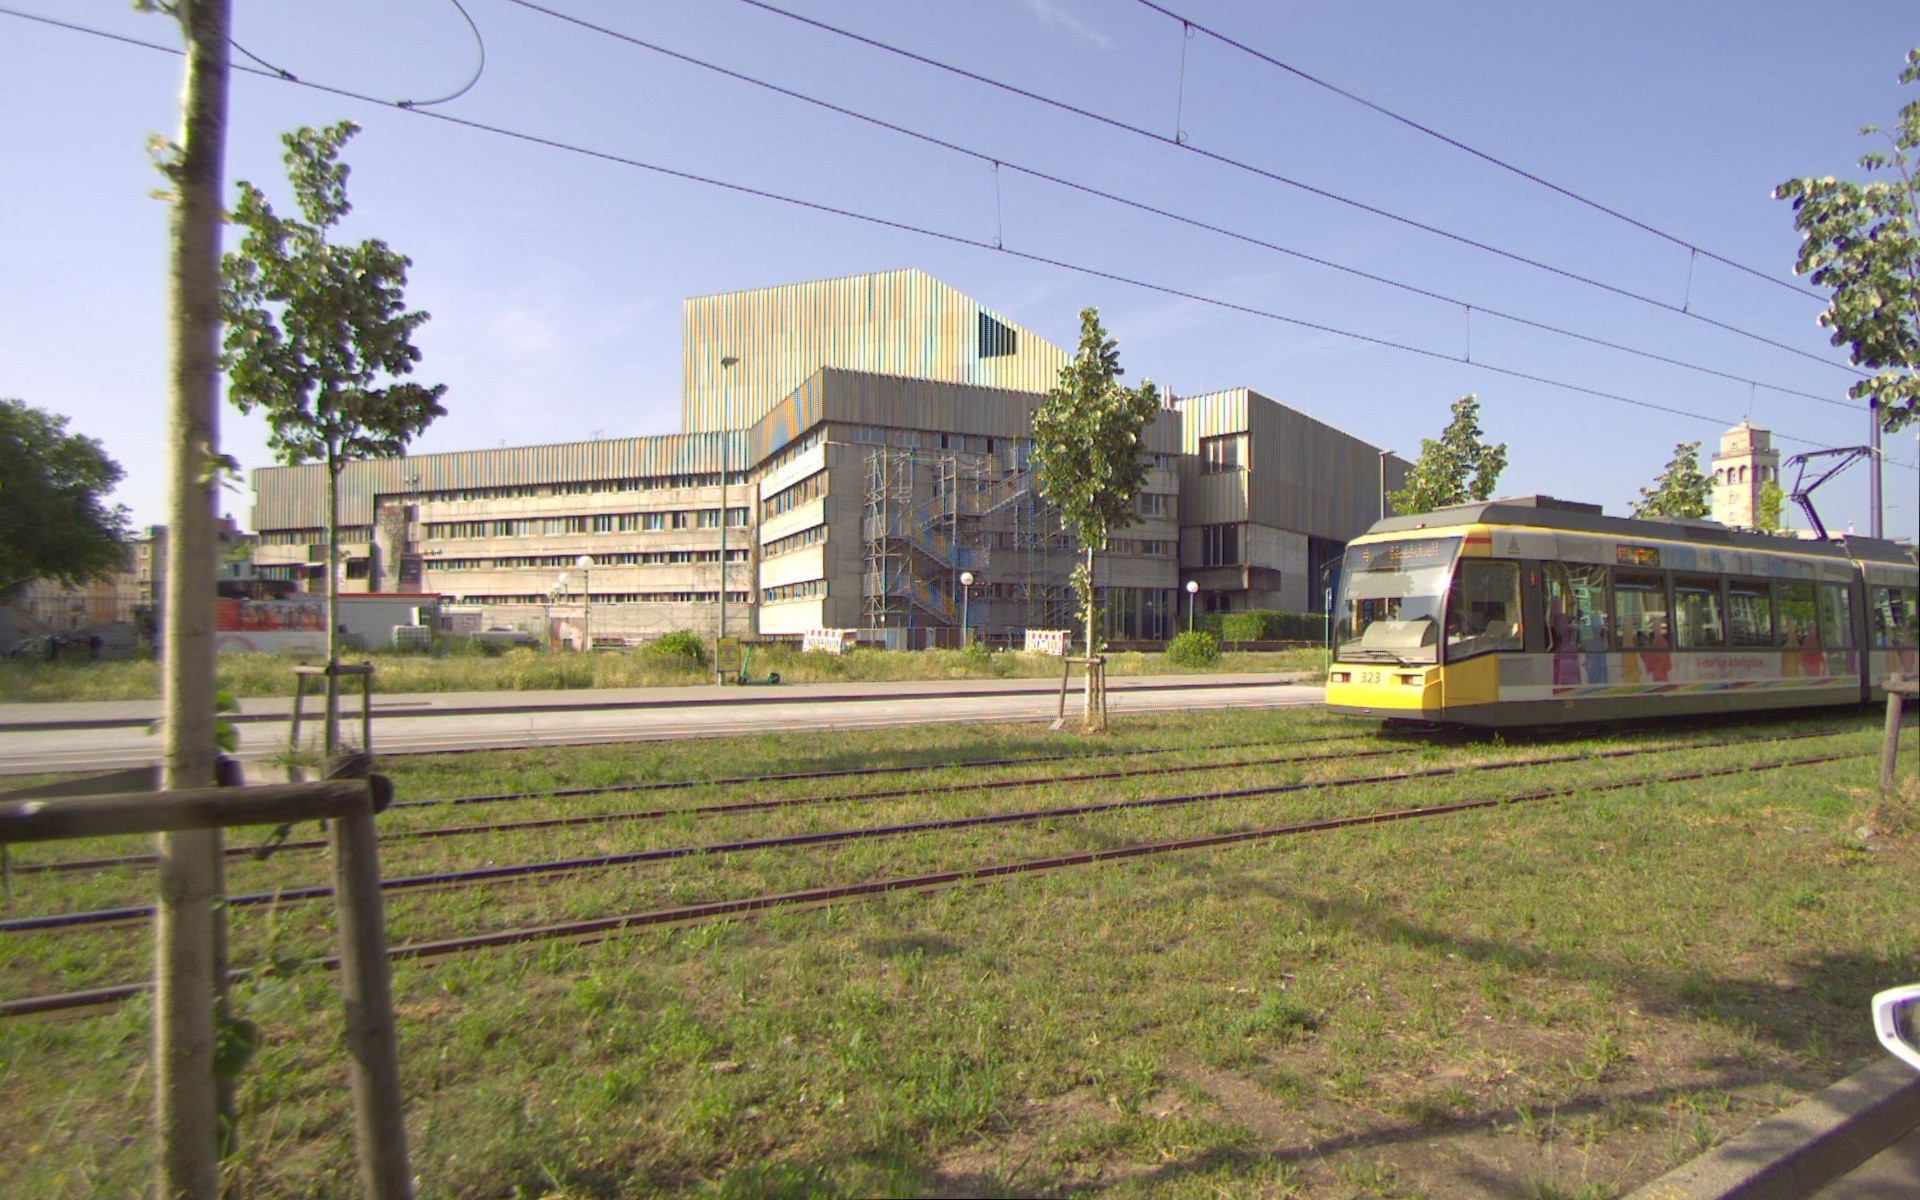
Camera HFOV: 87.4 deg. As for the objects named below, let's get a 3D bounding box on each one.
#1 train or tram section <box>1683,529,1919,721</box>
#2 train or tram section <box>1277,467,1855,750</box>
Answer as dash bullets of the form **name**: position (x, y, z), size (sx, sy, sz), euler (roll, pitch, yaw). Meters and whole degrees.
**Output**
- **train or tram section**: position (21.821, 0.703, 23.474), size (12.778, 3.633, 2.886), euler (2, -3, -29)
- **train or tram section**: position (10.919, 0.325, 17.253), size (12.329, 3.633, 2.885), euler (2, -3, -30)
